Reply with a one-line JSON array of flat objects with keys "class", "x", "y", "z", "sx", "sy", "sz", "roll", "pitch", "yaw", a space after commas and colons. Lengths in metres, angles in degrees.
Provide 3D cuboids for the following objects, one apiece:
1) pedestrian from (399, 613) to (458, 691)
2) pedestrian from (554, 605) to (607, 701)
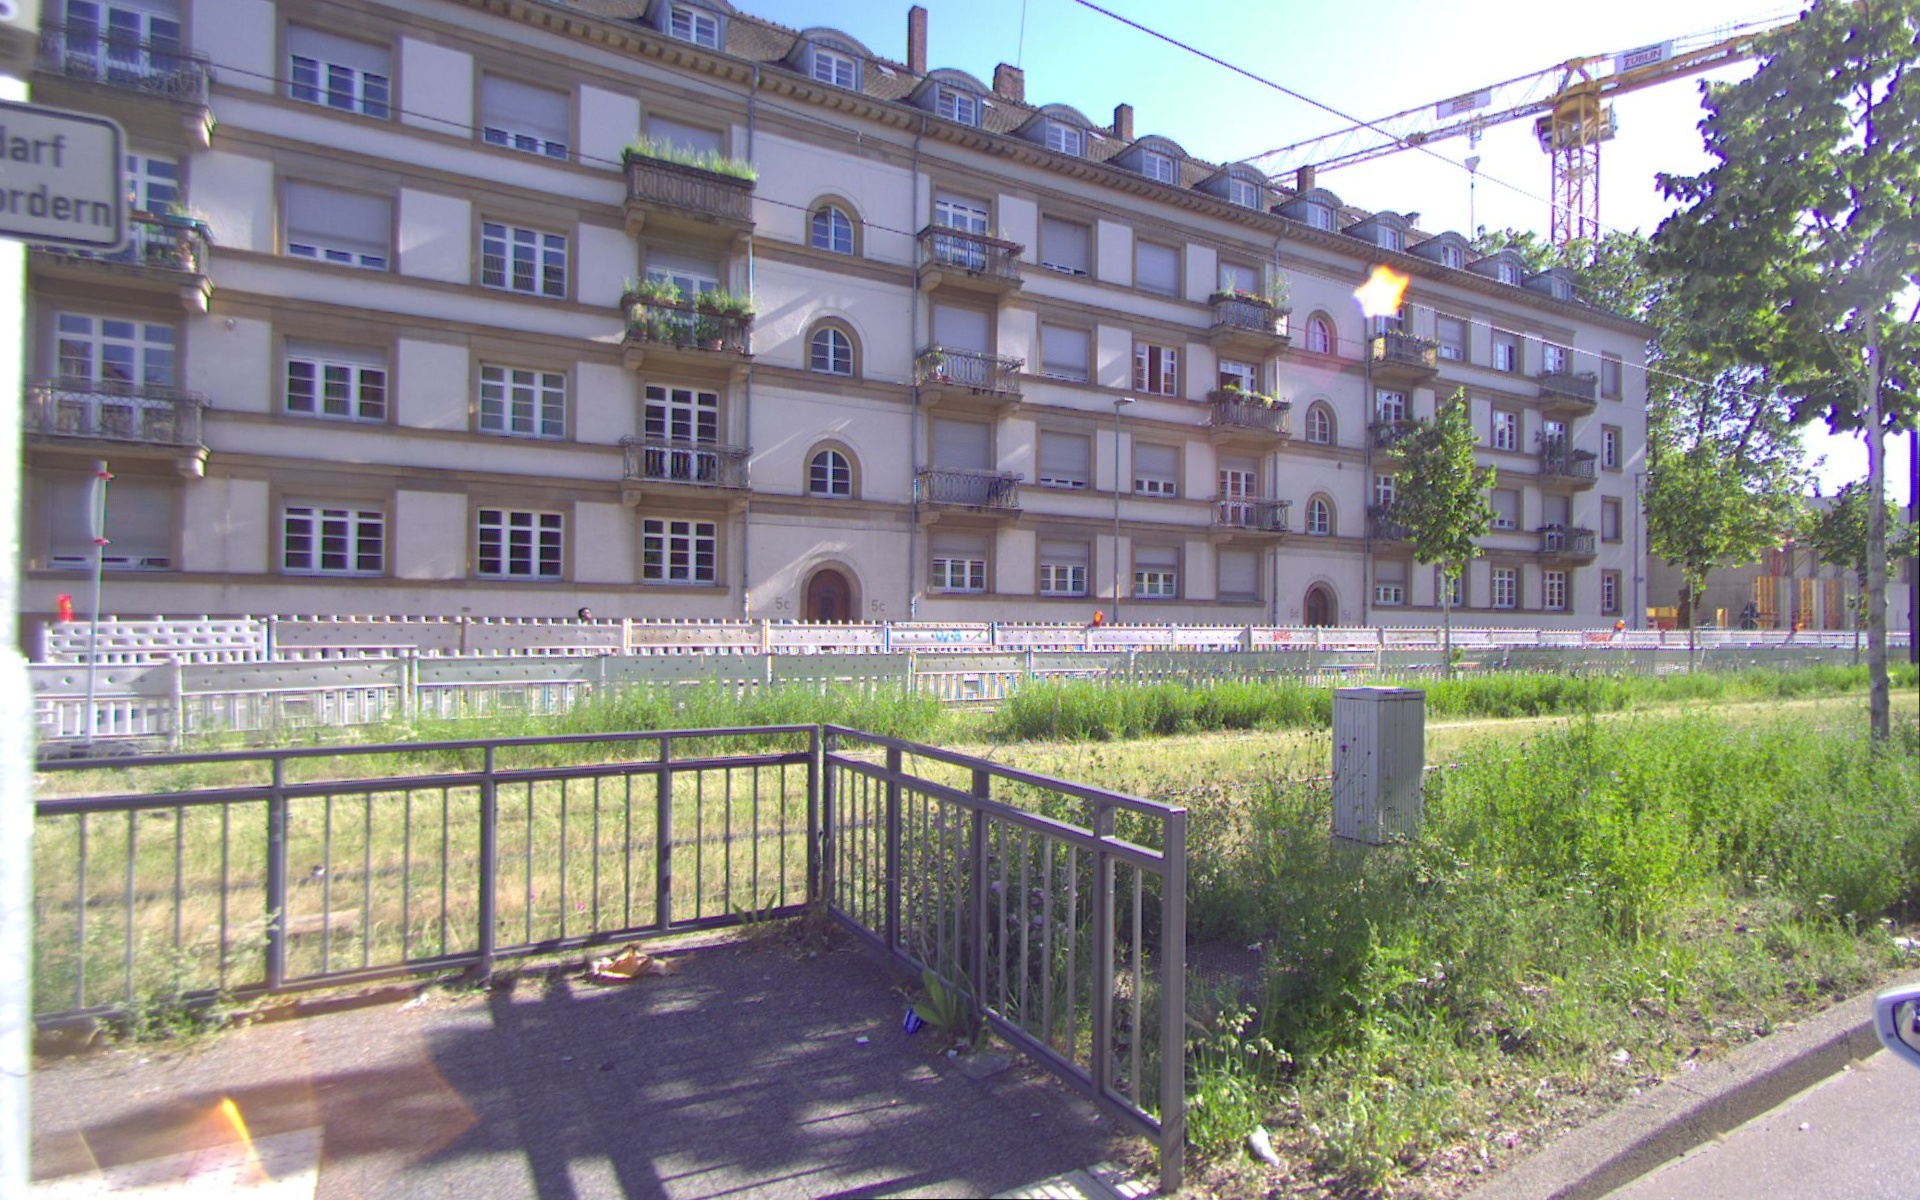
[{"class": "pedestrian", "x": -10.812, "y": 1.040, "z": 20.423, "sx": 1.009, "sy": 1.538, "sz": 0.783, "roll": 2, "pitch": -1, "yaw": -30}, {"class": "pedestrian", "x": -7.723, "y": 1.059, "z": 20.433, "sx": 0.861, "sy": 1.888, "sz": 0.763, "roll": 2, "pitch": -1, "yaw": -30}]
